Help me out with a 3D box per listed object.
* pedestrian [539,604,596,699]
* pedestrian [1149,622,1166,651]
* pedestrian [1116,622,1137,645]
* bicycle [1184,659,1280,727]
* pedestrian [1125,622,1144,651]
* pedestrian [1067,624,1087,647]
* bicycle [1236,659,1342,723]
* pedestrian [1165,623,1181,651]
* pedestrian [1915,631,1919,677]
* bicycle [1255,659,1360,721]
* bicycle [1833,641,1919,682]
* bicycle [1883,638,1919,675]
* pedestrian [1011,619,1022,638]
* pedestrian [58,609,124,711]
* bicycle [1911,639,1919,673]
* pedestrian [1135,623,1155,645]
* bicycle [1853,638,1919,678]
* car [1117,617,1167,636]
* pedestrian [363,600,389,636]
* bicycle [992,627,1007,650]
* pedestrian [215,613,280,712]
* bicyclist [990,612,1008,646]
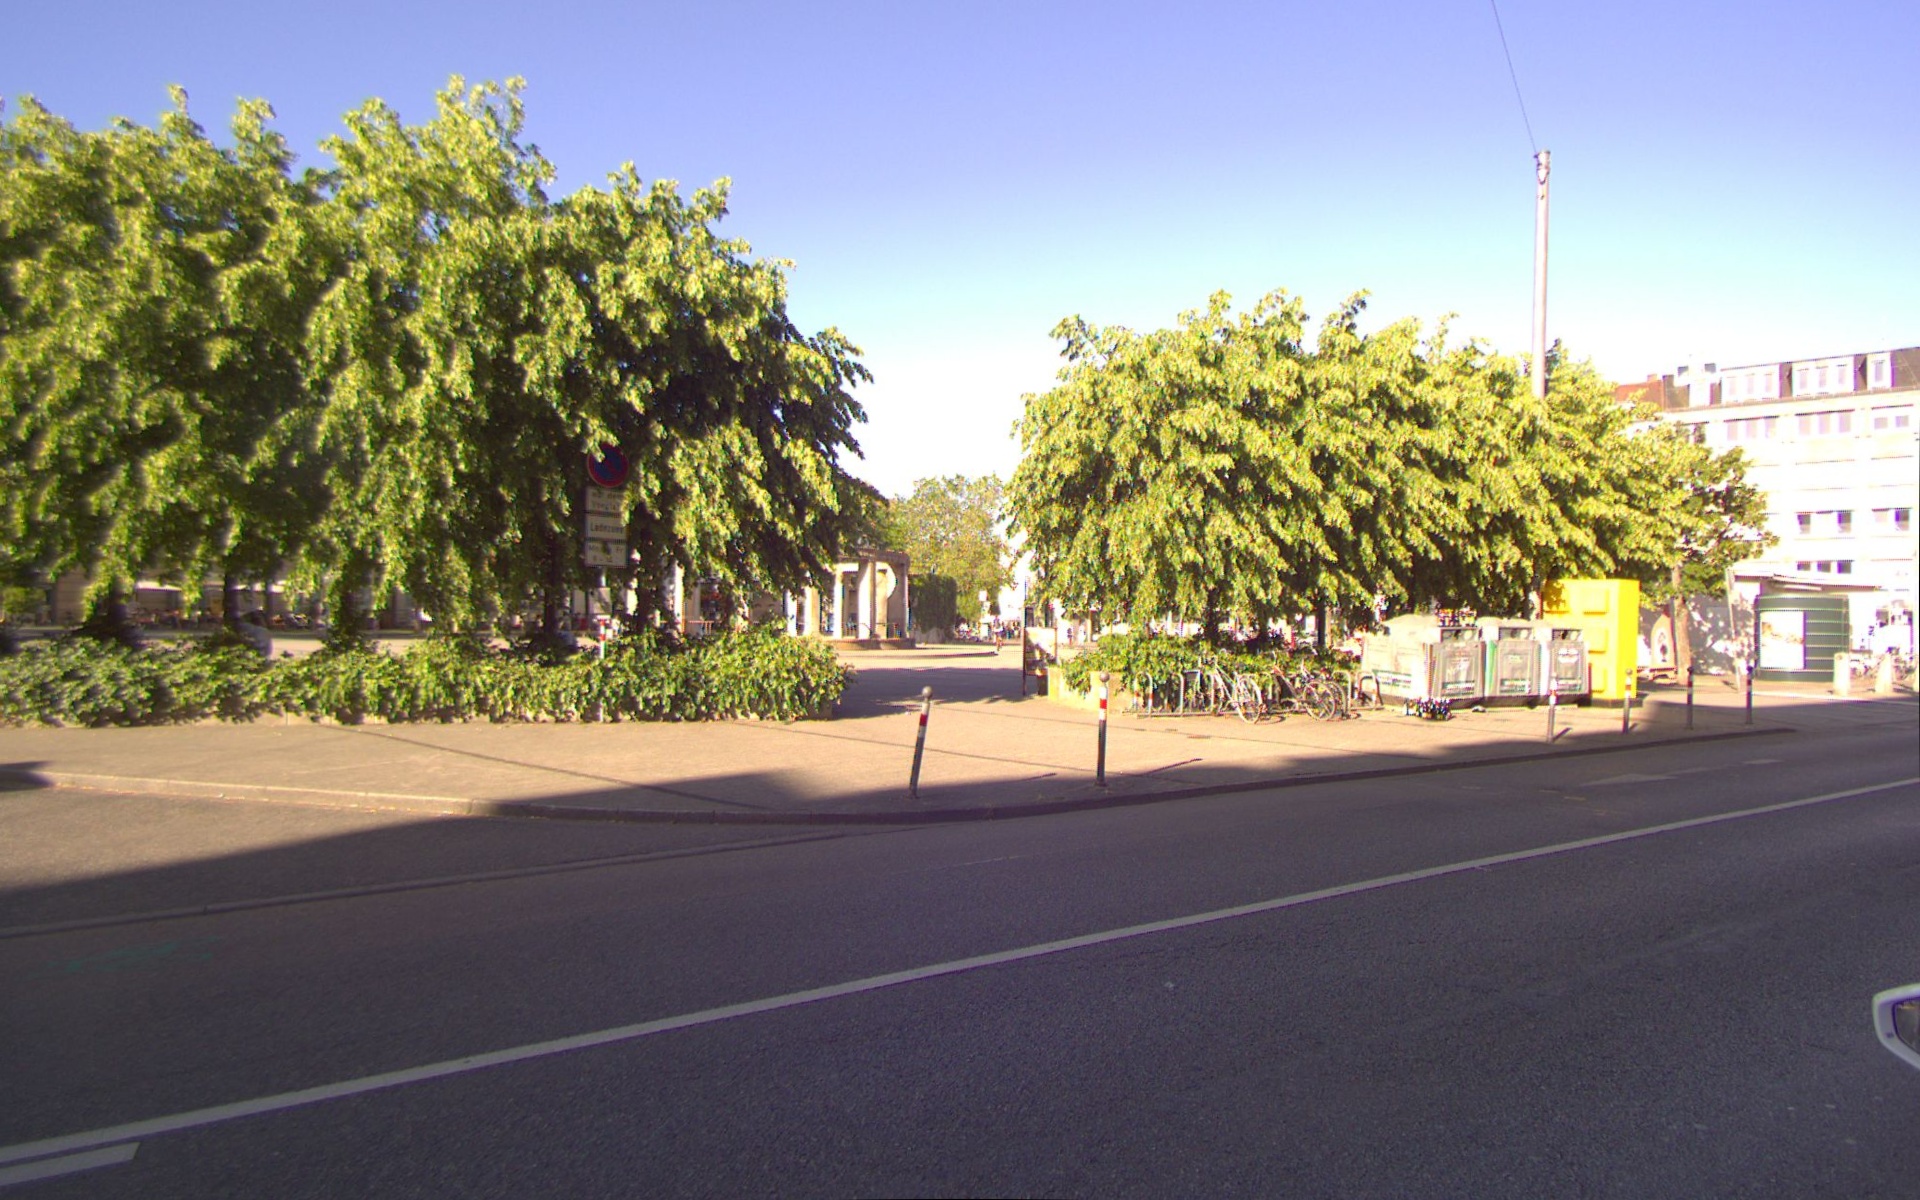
[{"bbox_3d":[-6.596,0.848,16.879,0.688,1.541,0.676,2,0,-41],"label":"pedestrian"},{"bbox_3d":[10.714,1.975,54.491,0.761,1.541,0.838,2,0,6],"label":"pedestrian"},{"bbox_3d":[9.607,1.932,57.899,0.855,1.230,0.933,2,0,-15],"label":"pedestrian"},{"bbox_3d":[4.174,1.412,15.528,0.464,0.897,1.558,2,0,-29],"label":"bicycle"},{"bbox_3d":[9.569,1.971,55.190,0.904,1.541,0.936,2,0,15],"label":"pedestrian"},{"bbox_3d":[9.642,2.907,82.658,1.276,1.867,1.101,2,0,25],"label":"pedestrian"},{"bbox_3d":[5.274,1.444,16.186,0.465,0.870,1.659,2,0,-35],"label":"bicycle"},{"bbox_3d":[11.567,2.006,54.564,0.598,1.528,0.557,2,0,-15],"label":"pedestrian"},{"bbox_3d":[34.692,1.939,35.281,1.077,1.633,1.263,2,0,-12],"label":"pedestrian"},{"bbox_3d":[5.672,1.454,16.481,0.465,0.870,1.654,2,0,-35],"label":"bicycle"},{"bbox_3d":[31.219,2.065,33.765,0.932,1.211,2.645,2,0,-32],"label":"bicycle"},{"bbox_3d":[35.260,2.086,36.134,0.932,1.287,2.859,2,0,-32],"label":"bicycle"},{"bbox_3d":[5.905,2.964,104.485,0.891,1.845,0.952,2,0,17],"label":"pedestrian"},{"bbox_3d":[-12.860,0.872,14.885,0.615,1.456,0.647,2,0,-32],"label":"pedestrian"},{"bbox_3d":[37.244,2.157,37.279,0.932,1.276,2.648,2,0,-32],"label":"bicycle"},{"bbox_3d":[10.735,1.992,58.370,0.884,1.230,0.865,2,0,-11],"label":"pedestrian"},{"bbox_3d":[33.141,2.041,35.068,0.923,1.291,2.764,2,0,-32],"label":"bicycle"},{"bbox_3d":[15.618,2.287,86.383,4.076,1.550,1.542,0,-1,44],"label":"car"},{"bbox_3d":[-26.273,0.812,45.202,0.681,1.550,0.739,2,0,28],"label":"pedestrian"},{"bbox_3d":[2.067,2.017,52.467,0.593,1.116,1.990,2,0,7],"label":"bicycle"},{"bbox_3d":[-10.852,0.935,15.302,0.581,1.456,0.615,2,0,33],"label":"pedestrian"},{"bbox_3d":[2.042,1.496,52.375,0.772,1.722,0.896,2,0,7],"label":"bicyclist"}]
